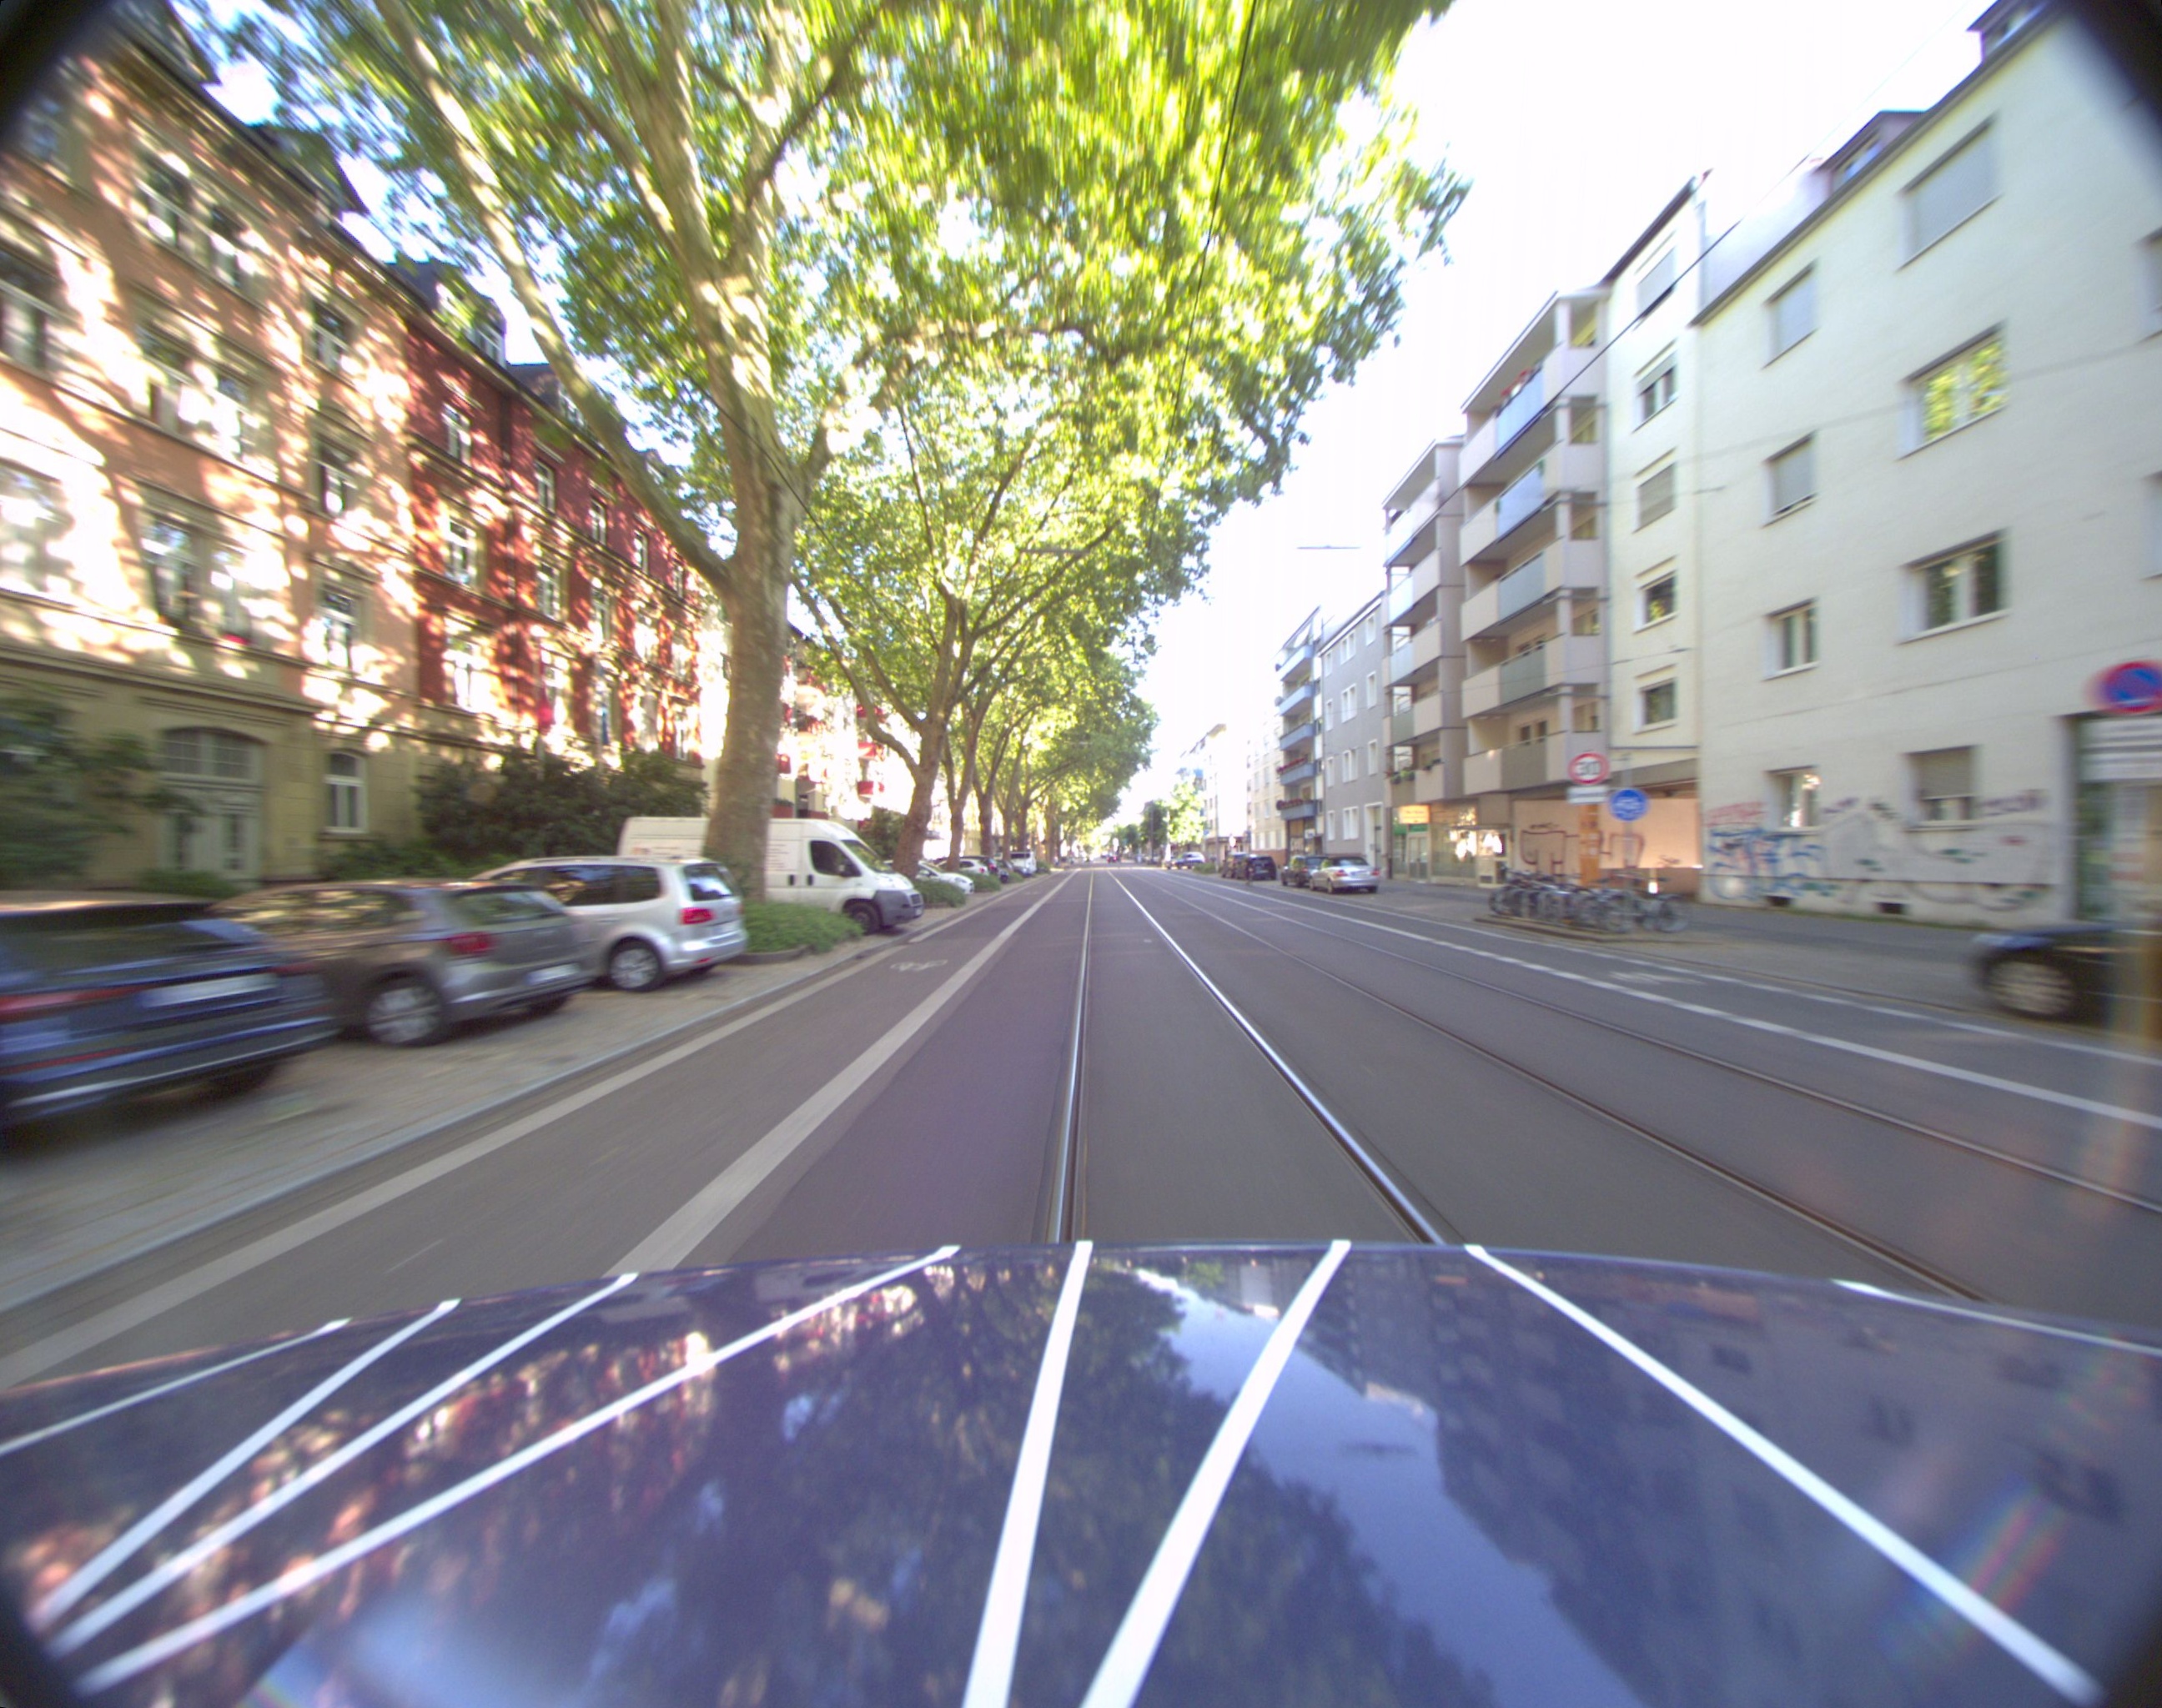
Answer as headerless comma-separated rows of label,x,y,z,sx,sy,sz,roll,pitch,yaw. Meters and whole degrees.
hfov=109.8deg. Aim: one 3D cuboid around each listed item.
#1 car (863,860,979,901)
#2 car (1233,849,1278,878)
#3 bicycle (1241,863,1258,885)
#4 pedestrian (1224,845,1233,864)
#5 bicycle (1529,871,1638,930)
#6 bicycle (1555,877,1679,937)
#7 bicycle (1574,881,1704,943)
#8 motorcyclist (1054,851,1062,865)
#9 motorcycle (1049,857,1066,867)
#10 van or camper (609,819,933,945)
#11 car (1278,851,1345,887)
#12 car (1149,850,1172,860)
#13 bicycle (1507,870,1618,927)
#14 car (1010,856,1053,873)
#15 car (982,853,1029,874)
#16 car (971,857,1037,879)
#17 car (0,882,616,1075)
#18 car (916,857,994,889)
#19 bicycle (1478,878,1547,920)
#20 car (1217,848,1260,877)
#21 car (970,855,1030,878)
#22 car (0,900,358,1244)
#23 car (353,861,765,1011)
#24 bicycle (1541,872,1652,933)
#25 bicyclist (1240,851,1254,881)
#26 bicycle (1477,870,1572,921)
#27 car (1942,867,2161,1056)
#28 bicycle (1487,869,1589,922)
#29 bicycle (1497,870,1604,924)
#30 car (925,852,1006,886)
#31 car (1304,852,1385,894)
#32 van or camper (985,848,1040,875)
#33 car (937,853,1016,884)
car,-5.909,0.976,28.358,3.963,1.471,1.688,0,1,2
car,10.402,0.542,45.565,1.660,1.591,4.202,-3,0,0
bicycle,7.964,0.938,36.040,0.418,1.012,1.947,1,1,2
pedestrian,15.248,0.048,78.693,0.773,1.888,0.799,-2,1,9
bicycle,10.214,0.951,15.487,1.822,1.112,0.425,-2,1,8
bicycle,9.987,0.983,14.186,1.897,1.032,0.402,-2,1,8
bicycle,9.988,1.038,13.638,1.897,1.032,0.402,-2,1,8
motorcyclist,-2.533,0.445,84.173,0.756,1.609,0.588,-1,1,-6
motorcycle,-2.578,0.904,84.183,1.832,1.112,0.590,-1,1,-7
van or camper,-6.439,0.560,16.316,6.047,2.476,2.107,-1,1,1
car,10.449,0.641,34.753,1.798,1.482,4.240,-1,0,0
car,13.403,0.131,128.142,3.953,1.515,1.587,-1,1,5
bicycle,10.233,0.946,16.173,1.972,1.112,0.425,-2,1,8
car,-4.387,0.929,67.614,3.570,1.431,1.727,-1,1,4
car,-5.958,0.738,60.298,3.572,1.522,1.677,-1,1,-1
car,-5.204,0.923,51.414,4.206,1.473,1.911,0,1,2
car,-6.896,1.060,7.115,3.964,1.470,1.796,-1,1,1
car,-6.347,0.939,38.514,3.618,1.486,1.660,-1,1,0
bicycle,10.467,1.083,18.416,1.624,0.912,0.401,-2,1,-15
car,10.399,0.523,50.447,1.784,1.728,4.489,-3,0,-1
car,-5.197,0.795,49.146,3.837,1.435,1.699,0,1,-4
car,-6.954,1.065,4.242,4.064,1.451,1.796,-1,1,0
car,-6.422,0.959,9.729,3.965,1.646,1.795,-1,1,-2
bicycle,10.154,0.956,15.003,1.792,1.112,0.425,-2,1,8
bicyclist,7.917,0.578,36.265,0.510,1.386,0.709,1,1,1
bicycle,10.385,0.964,17.828,1.897,1.112,0.402,-2,1,8
car,9.445,0.882,5.356,1.722,1.448,4.572,-1,0,3
bicycle,10.311,0.936,17.198,1.934,1.112,0.440,-2,1,8
bicycle,10.276,0.941,16.659,1.964,1.112,0.440,-2,1,8
car,-6.174,0.778,40.934,4.003,1.734,1.805,-1,0,1
car,10.233,0.687,29.870,1.693,1.482,4.728,-1,0,2
van or camper,-5.641,0.599,63.089,4.388,2.097,1.838,-1,1,-2
car,-5.941,0.807,43.484,4.302,1.643,1.743,-1,1,-1
